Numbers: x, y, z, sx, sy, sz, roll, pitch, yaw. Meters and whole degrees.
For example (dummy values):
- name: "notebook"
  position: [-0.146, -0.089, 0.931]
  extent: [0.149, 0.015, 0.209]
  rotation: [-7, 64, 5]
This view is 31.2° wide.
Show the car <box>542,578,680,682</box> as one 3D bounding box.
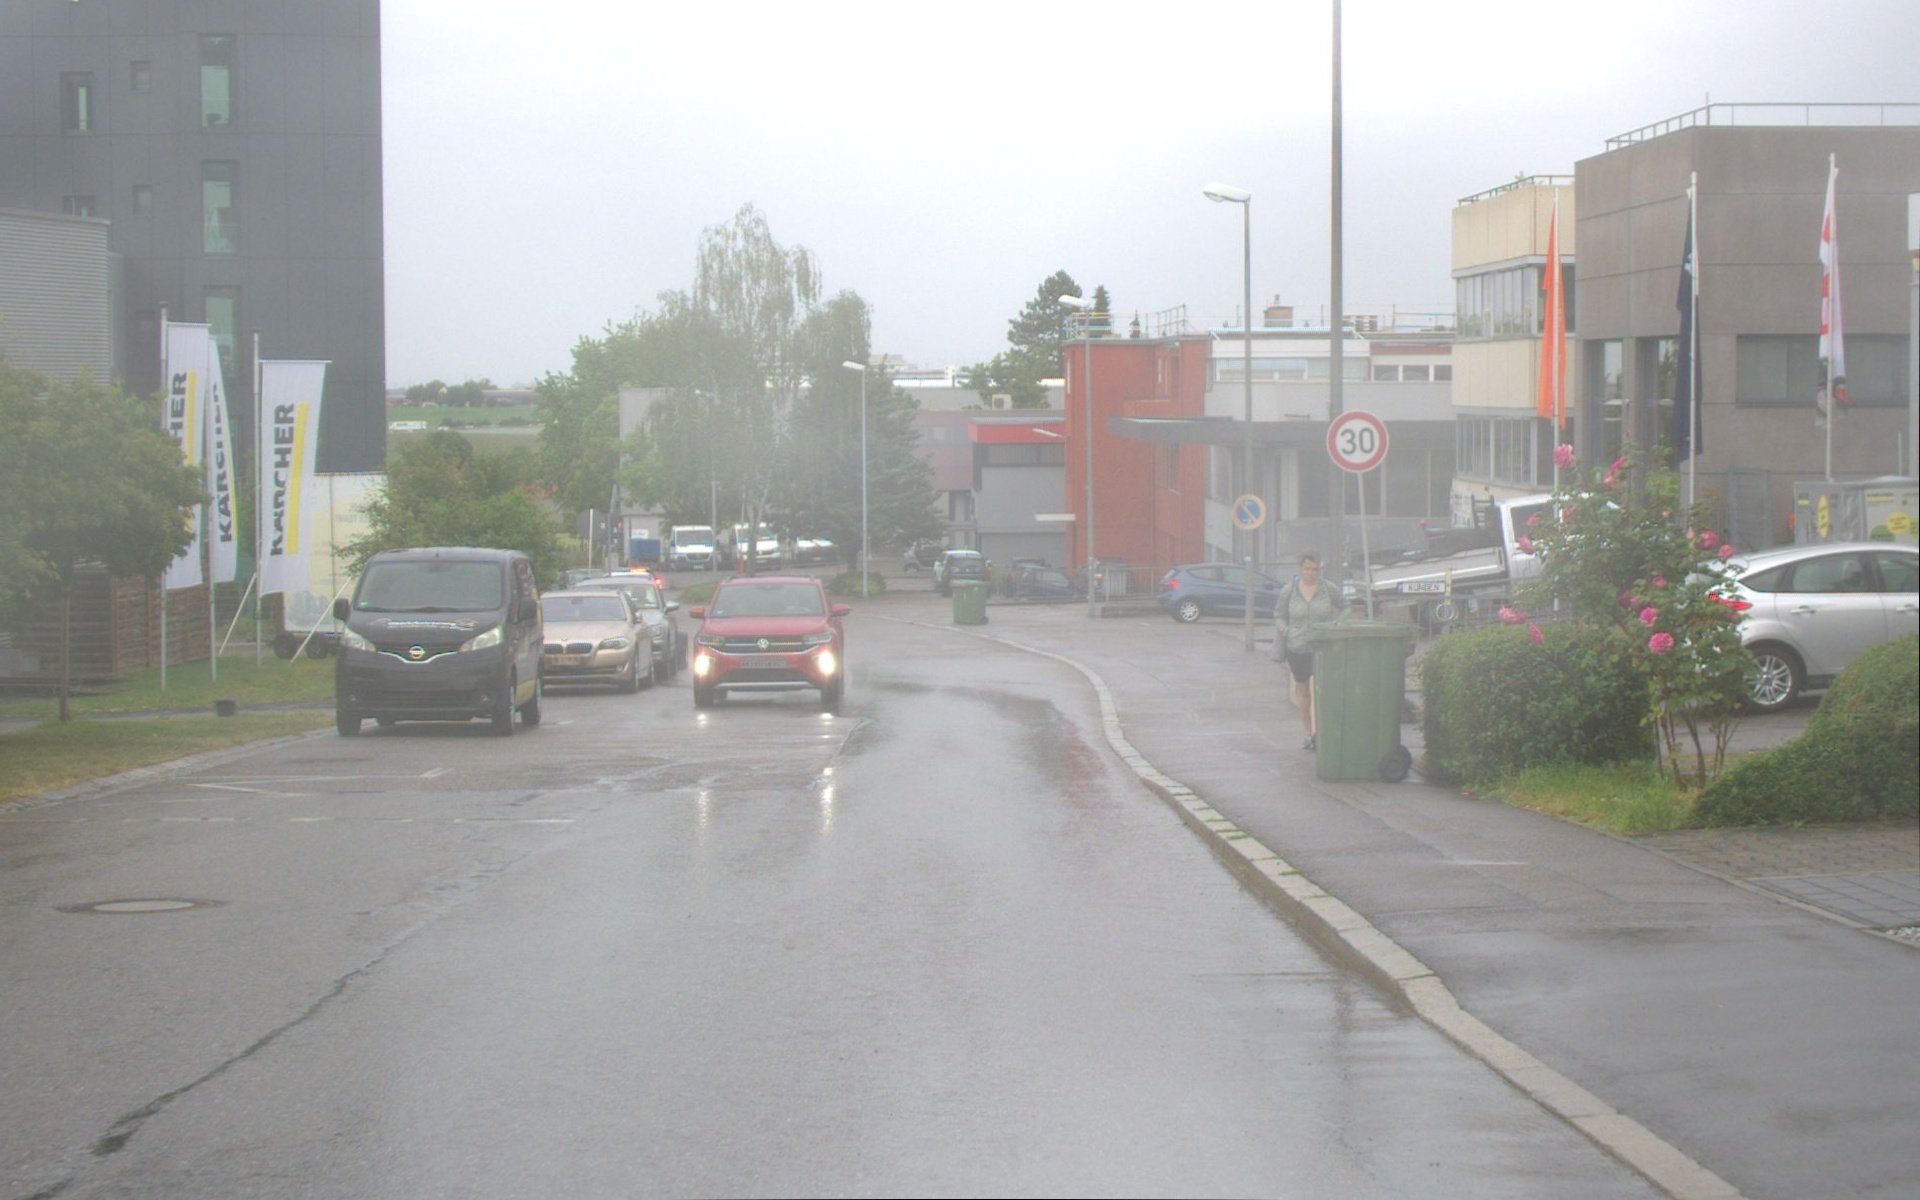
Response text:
- name: "car"
  position: [-5.607, 0.474, 55.741]
  extent: [1.957, 1.571, 4.840]
  rotation: [-2, 0, -3]

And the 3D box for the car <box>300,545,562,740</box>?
- name: "car"
  position: [-5.248, 0.388, 34.720]
  extent: [1.915, 1.825, 4.848]
  rotation: [0, 0, 0]

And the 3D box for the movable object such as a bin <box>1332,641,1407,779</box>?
- name: "movable object such as a bin"
  position: [2.935, 0.785, 24.687]
  extent: [0.472, 0.964, 0.514]
  rotation: [0, 0, 0]

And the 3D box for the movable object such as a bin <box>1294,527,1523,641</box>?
- name: "movable object such as a bin"
  position: [8.779, -0.322, 67.480]
  extent: [4.254, 2.103, 1.477]
  rotation: [-1, 1, -1]

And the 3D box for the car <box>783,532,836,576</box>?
- name: "car"
  position: [-7.142, -2.168, 162.787]
  extent: [2.145, 2.007, 3.940]
  rotation: [-1, 0, -8]

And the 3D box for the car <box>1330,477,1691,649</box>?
- name: "car"
  position: [8.962, -0.599, 56.305]
  extent: [5.298, 2.006, 2.222]
  rotation: [-8, 0, -1]

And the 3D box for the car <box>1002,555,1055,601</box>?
- name: "car"
  position: [2.540, -0.792, 127.765]
  extent: [1.739, 1.648, 4.000]
  rotation: [-1, 0, -2]

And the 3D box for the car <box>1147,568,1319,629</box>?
- name: "car"
  position: [6.526, -0.031, 82.421]
  extent: [3.894, 1.379, 1.821]
  rotation: [1, 0, -2]

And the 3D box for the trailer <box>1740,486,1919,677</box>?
- name: "trailer"
  position: [11.892, -0.298, 45.995]
  extent: [1.887, 2.408, 4.309]
  rotation: [-1, 1, 0]

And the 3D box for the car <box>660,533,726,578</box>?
- name: "car"
  position: [-12.542, -2.086, 161.233]
  extent: [2.264, 2.007, 4.001]
  rotation: [-1, 0, -17]

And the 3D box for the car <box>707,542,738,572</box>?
- name: "car"
  position: [-11.575, -2.096, 167.291]
  extent: [1.290, 1.419, 2.547]
  rotation: [-1, 0, -8]

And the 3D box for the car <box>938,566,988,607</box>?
- name: "car"
  position: [0.108, -0.498, 127.026]
  extent: [1.697, 1.470, 4.000]
  rotation: [-1, 0, -2]

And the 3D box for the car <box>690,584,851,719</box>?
- name: "car"
  position: [-2.299, 0.623, 42.516]
  extent: [1.747, 1.503, 3.935]
  rotation: [-3, 0, -1]

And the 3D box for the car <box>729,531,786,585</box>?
- name: "car"
  position: [-9.544, -1.946, 161.741]
  extent: [2.192, 2.451, 4.001]
  rotation: [-1, 0, -10]

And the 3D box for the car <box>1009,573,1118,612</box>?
- name: "car"
  position: [3.270, -0.242, 109.272]
  extent: [3.400, 1.159, 1.792]
  rotation: [-1, 1, 0]

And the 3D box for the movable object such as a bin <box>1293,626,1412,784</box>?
- name: "movable object such as a bin"
  position: [2.715, 0.719, 23.816]
  extent: [0.743, 1.063, 0.637]
  rotation: [0, 0, 0]

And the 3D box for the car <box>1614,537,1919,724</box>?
- name: "car"
  position: [8.376, 0.230, 31.928]
  extent: [4.120, 1.568, 2.004]
  rotation: [-3, 0, -2]

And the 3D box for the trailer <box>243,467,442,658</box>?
- name: "trailer"
  position: [-13.921, -0.821, 77.407]
  extent: [4.182, 4.189, 2.002]
  rotation: [-1, 0, 37]

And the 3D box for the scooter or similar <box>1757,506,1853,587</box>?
- name: "scooter or similar"
  position: [14.145, -0.904, 57.596]
  extent: [1.064, 1.220, 2.065]
  rotation: [-4, 2, 1]

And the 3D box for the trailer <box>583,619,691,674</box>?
- name: "trailer"
  position: [-5.612, 0.796, 60.123]
  extent: [1.680, 0.885, 3.897]
  rotation: [-1, 0, -3]

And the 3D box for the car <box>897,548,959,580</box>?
- name: "car"
  position: [-1.381, -1.574, 149.114]
  extent: [2.547, 1.347, 1.242]
  rotation: [-1, 1, -6]

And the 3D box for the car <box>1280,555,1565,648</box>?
- name: "car"
  position: [8.776, 0.007, 65.469]
  extent: [5.091, 1.608, 1.925]
  rotation: [-1, 1, -2]

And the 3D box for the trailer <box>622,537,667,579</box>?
- name: "trailer"
  position: [-15.153, -2.024, 165.177]
  extent: [1.852, 2.007, 4.001]
  rotation: [-1, 1, -9]

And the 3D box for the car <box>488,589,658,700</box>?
- name: "car"
  position: [-5.494, 0.598, 49.364]
  extent: [1.956, 1.456, 5.248]
  rotation: [-1, 0, -2]

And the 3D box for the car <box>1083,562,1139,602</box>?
- name: "car"
  position: [5.544, -0.667, 126.837]
  extent: [1.729, 1.417, 4.000]
  rotation: [-1, 0, -2]

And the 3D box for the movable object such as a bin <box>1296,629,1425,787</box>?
- name: "movable object such as a bin"
  position: [2.681, 0.715, 23.081]
  extent: [0.771, 1.026, 0.808]
  rotation: [0, 0, 0]

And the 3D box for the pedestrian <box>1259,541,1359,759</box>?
- name: "pedestrian"
  position: [2.869, 0.406, 28.348]
  extent: [0.736, 1.761, 0.808]
  rotation: [0, 0, 0]

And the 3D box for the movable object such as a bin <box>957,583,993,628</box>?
- name: "movable object such as a bin"
  position: [0.369, 0.134, 86.592]
  extent: [0.806, 1.089, 0.709]
  rotation: [-1, 1, -6]
